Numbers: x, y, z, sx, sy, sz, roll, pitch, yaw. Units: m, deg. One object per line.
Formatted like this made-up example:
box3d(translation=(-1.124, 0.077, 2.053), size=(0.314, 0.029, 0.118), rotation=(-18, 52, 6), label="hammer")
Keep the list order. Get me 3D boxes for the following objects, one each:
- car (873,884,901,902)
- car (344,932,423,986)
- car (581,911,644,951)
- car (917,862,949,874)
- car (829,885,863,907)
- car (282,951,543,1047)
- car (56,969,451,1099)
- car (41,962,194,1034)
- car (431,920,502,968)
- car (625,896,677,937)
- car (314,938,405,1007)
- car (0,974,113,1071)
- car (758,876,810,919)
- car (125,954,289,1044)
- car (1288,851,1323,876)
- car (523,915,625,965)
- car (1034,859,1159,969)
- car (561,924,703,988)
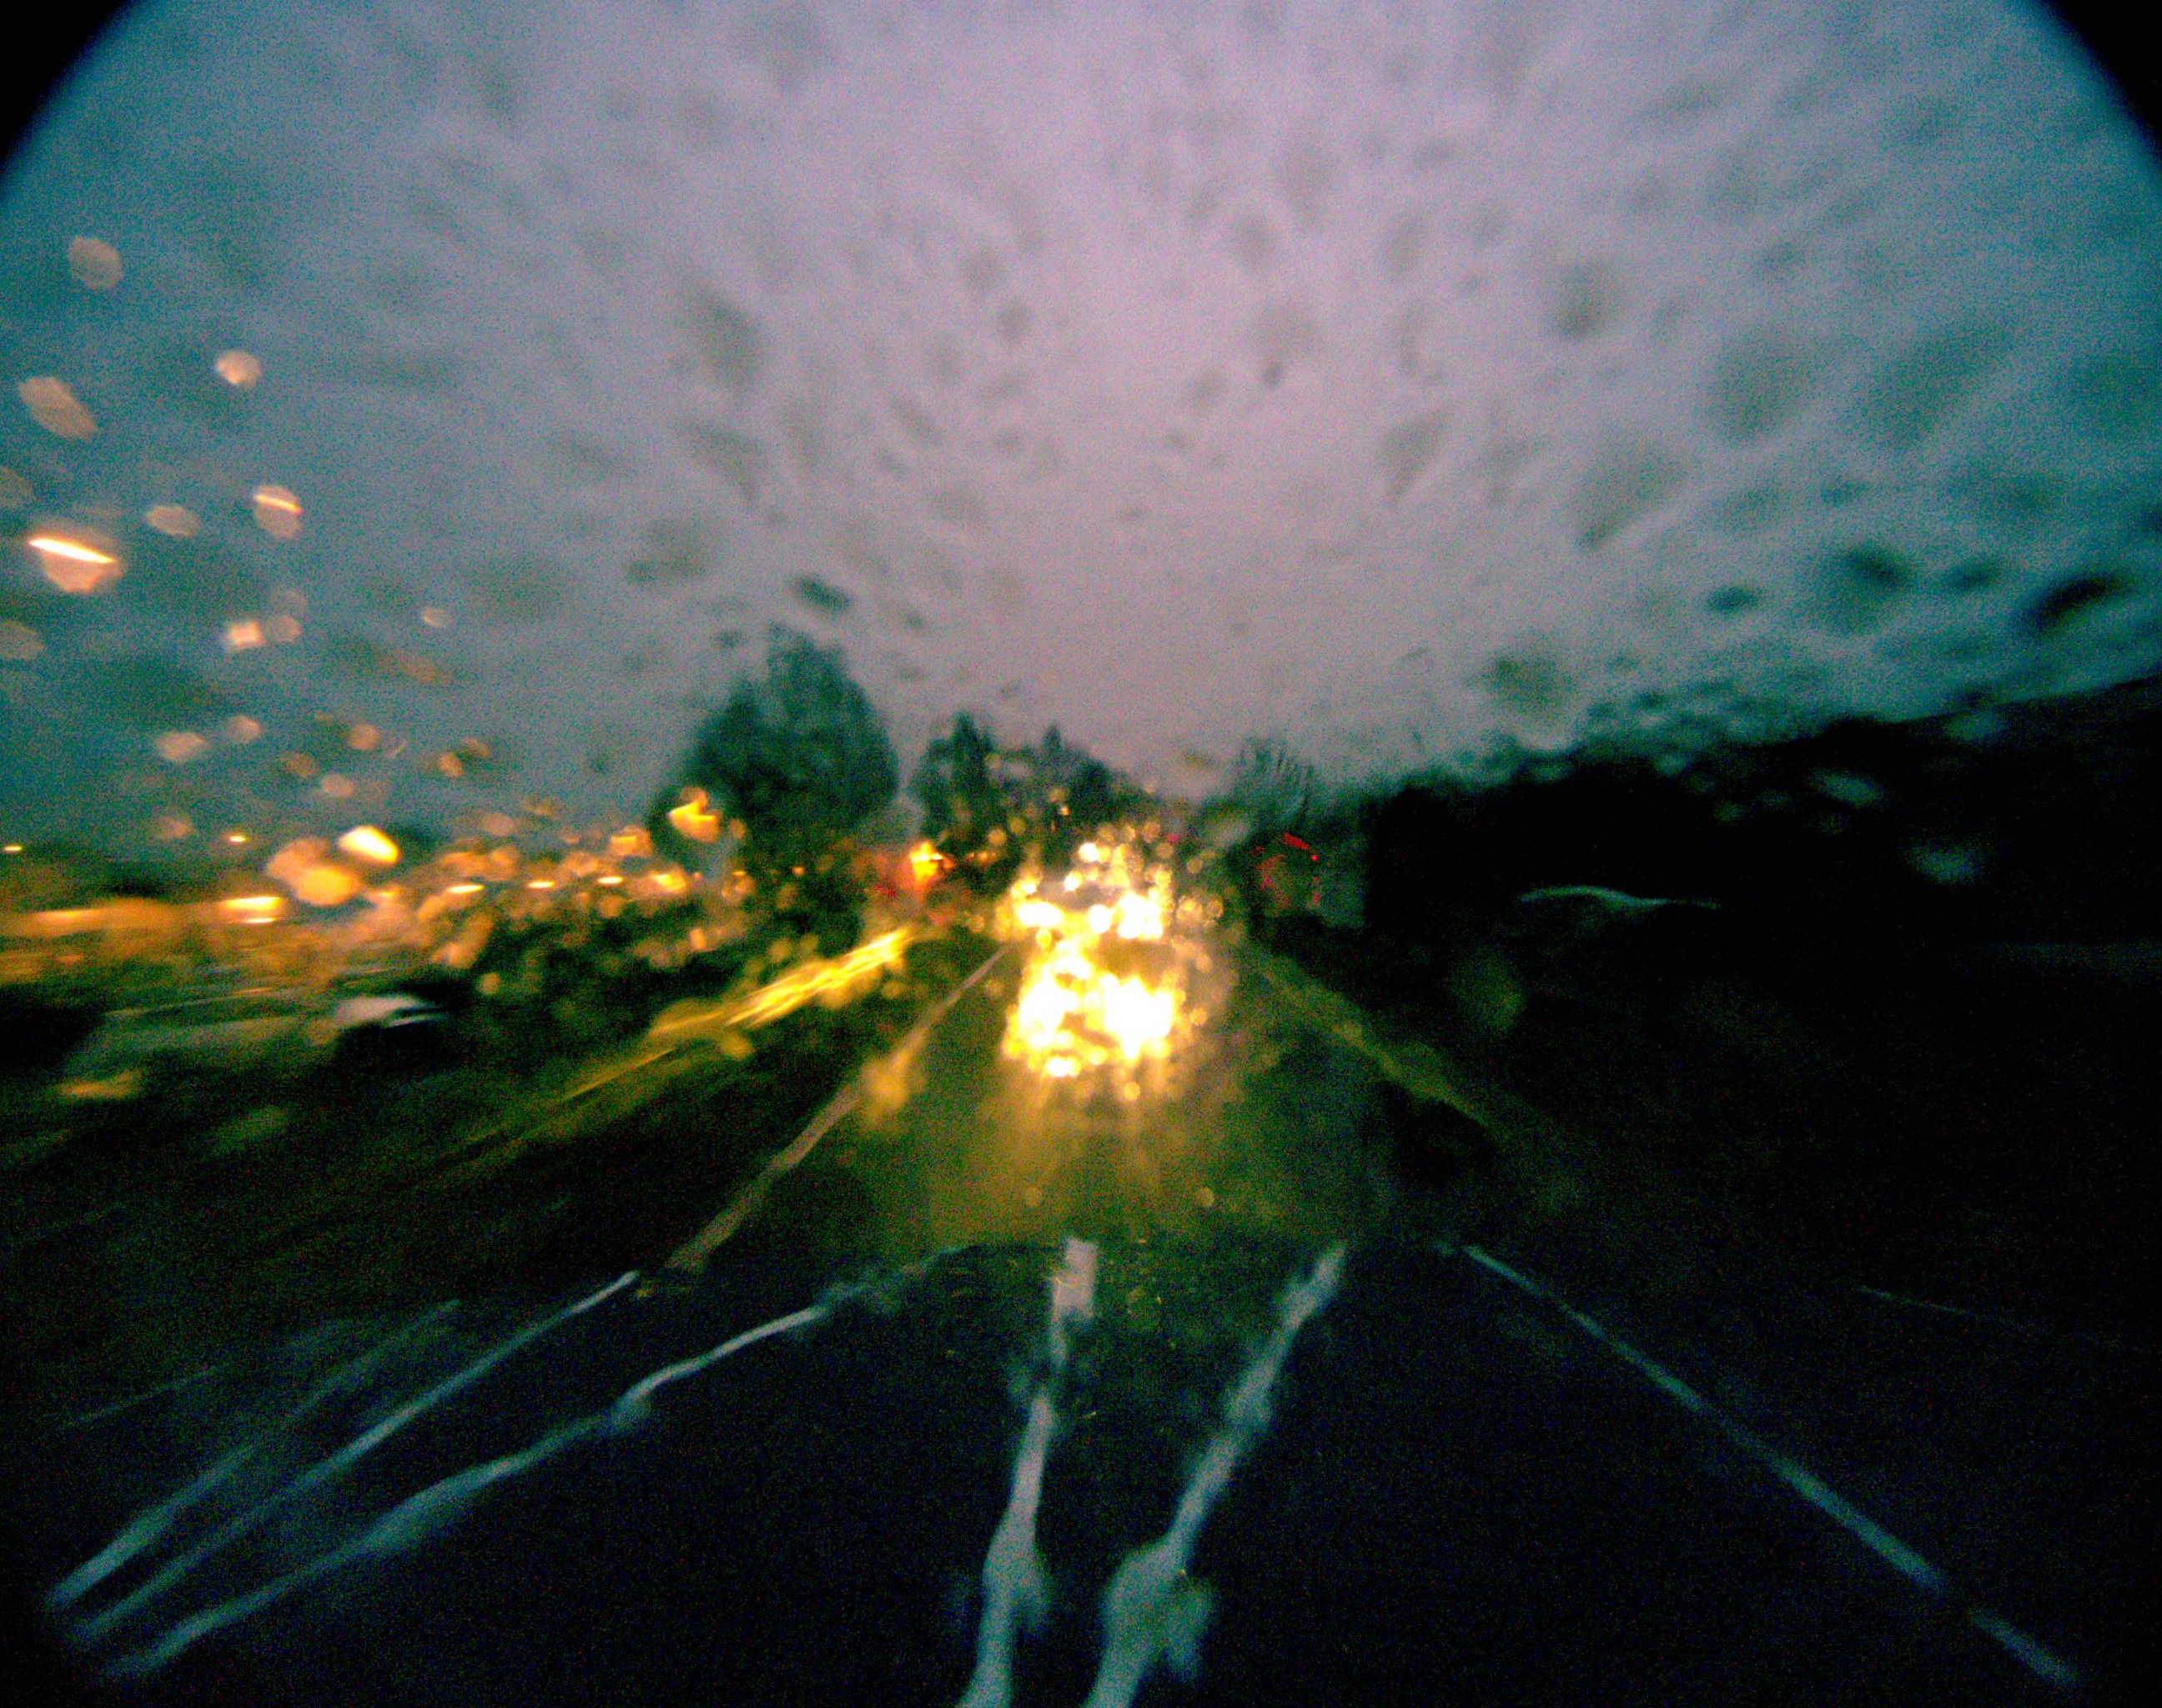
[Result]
box3d(translation=(-16.069, 3.199, 62.909), size=(1.531, 1.330, 3.580), rotation=(-2, 1, -26), label="car")
box3d(translation=(-25.949, 3.842, 28.375), size=(1.730, 1.493, 4.016), rotation=(-3, 0, -37), label="car")
box3d(translation=(-21.349, 3.460, 34.568), size=(1.723, 1.508, 3.249), rotation=(-4, 1, -44), label="car")
box3d(translation=(-21.356, 2.046, 109.755), size=(4.008, 1.588, 1.807), rotation=(-2, 1, 7), label="car")
box3d(translation=(-17.217, 3.041, 55.608), size=(1.717, 1.404, 4.005), rotation=(-2, 1, -26), label="car")
box3d(translation=(-15.032, 3.212, 17.458), size=(4.186, 1.388, 1.847), rotation=(-2, 1, -31), label="car")
box3d(translation=(-15.275, 3.264, 14.518), size=(4.711, 1.388, 1.900), rotation=(-2, 1, -31), label="car")
box3d(translation=(-27.148, 3.991, 21.568), size=(1.602, 1.339, 3.624), rotation=(-3, 0, -34), label="car")
box3d(translation=(-25.763, 3.696, 31.829), size=(3.969, 1.586, 1.805), rotation=(-2, 0, 44), label="car")
box3d(translation=(-23.880, 3.411, 42.088), size=(1.890, 1.946, 4.948), rotation=(-4, 0, -35), label="car")
box3d(translation=(-22.718, 3.642, 24.060), size=(1.830, 1.629, 4.459), rotation=(-3, -1, -41), label="car")
box3d(translation=(-23.826, 3.760, 16.874), size=(1.602, 1.576, 3.624), rotation=(-3, 1, -31), label="car")
box3d(translation=(-19.116, 2.704, 48.757), size=(2.284, 2.426, 5.228), rotation=(-2, 1, -29), label="car")
box3d(translation=(-22.978, 3.722, 20.195), size=(1.809, 1.526, 4.532), rotation=(-3, 1, -36), label="car")
box3d(translation=(15.685, 0.629, 53.241), size=(1.697, 1.569, 3.886), rotation=(-2, 1, 8), label="car")
box3d(translation=(-20.364, 3.422, 30.565), size=(3.263, 1.526, 1.389), rotation=(-4, 1, -38), label="car")
box3d(translation=(0.344, 0.933, 13.748), size=(1.809, 1.452, 4.246), rotation=(-5, 1, 3), label="car")
box3d(translation=(-13.931, 3.127, 23.859), size=(1.771, 1.421, 3.813), rotation=(-2, 1, 8), label="car")
